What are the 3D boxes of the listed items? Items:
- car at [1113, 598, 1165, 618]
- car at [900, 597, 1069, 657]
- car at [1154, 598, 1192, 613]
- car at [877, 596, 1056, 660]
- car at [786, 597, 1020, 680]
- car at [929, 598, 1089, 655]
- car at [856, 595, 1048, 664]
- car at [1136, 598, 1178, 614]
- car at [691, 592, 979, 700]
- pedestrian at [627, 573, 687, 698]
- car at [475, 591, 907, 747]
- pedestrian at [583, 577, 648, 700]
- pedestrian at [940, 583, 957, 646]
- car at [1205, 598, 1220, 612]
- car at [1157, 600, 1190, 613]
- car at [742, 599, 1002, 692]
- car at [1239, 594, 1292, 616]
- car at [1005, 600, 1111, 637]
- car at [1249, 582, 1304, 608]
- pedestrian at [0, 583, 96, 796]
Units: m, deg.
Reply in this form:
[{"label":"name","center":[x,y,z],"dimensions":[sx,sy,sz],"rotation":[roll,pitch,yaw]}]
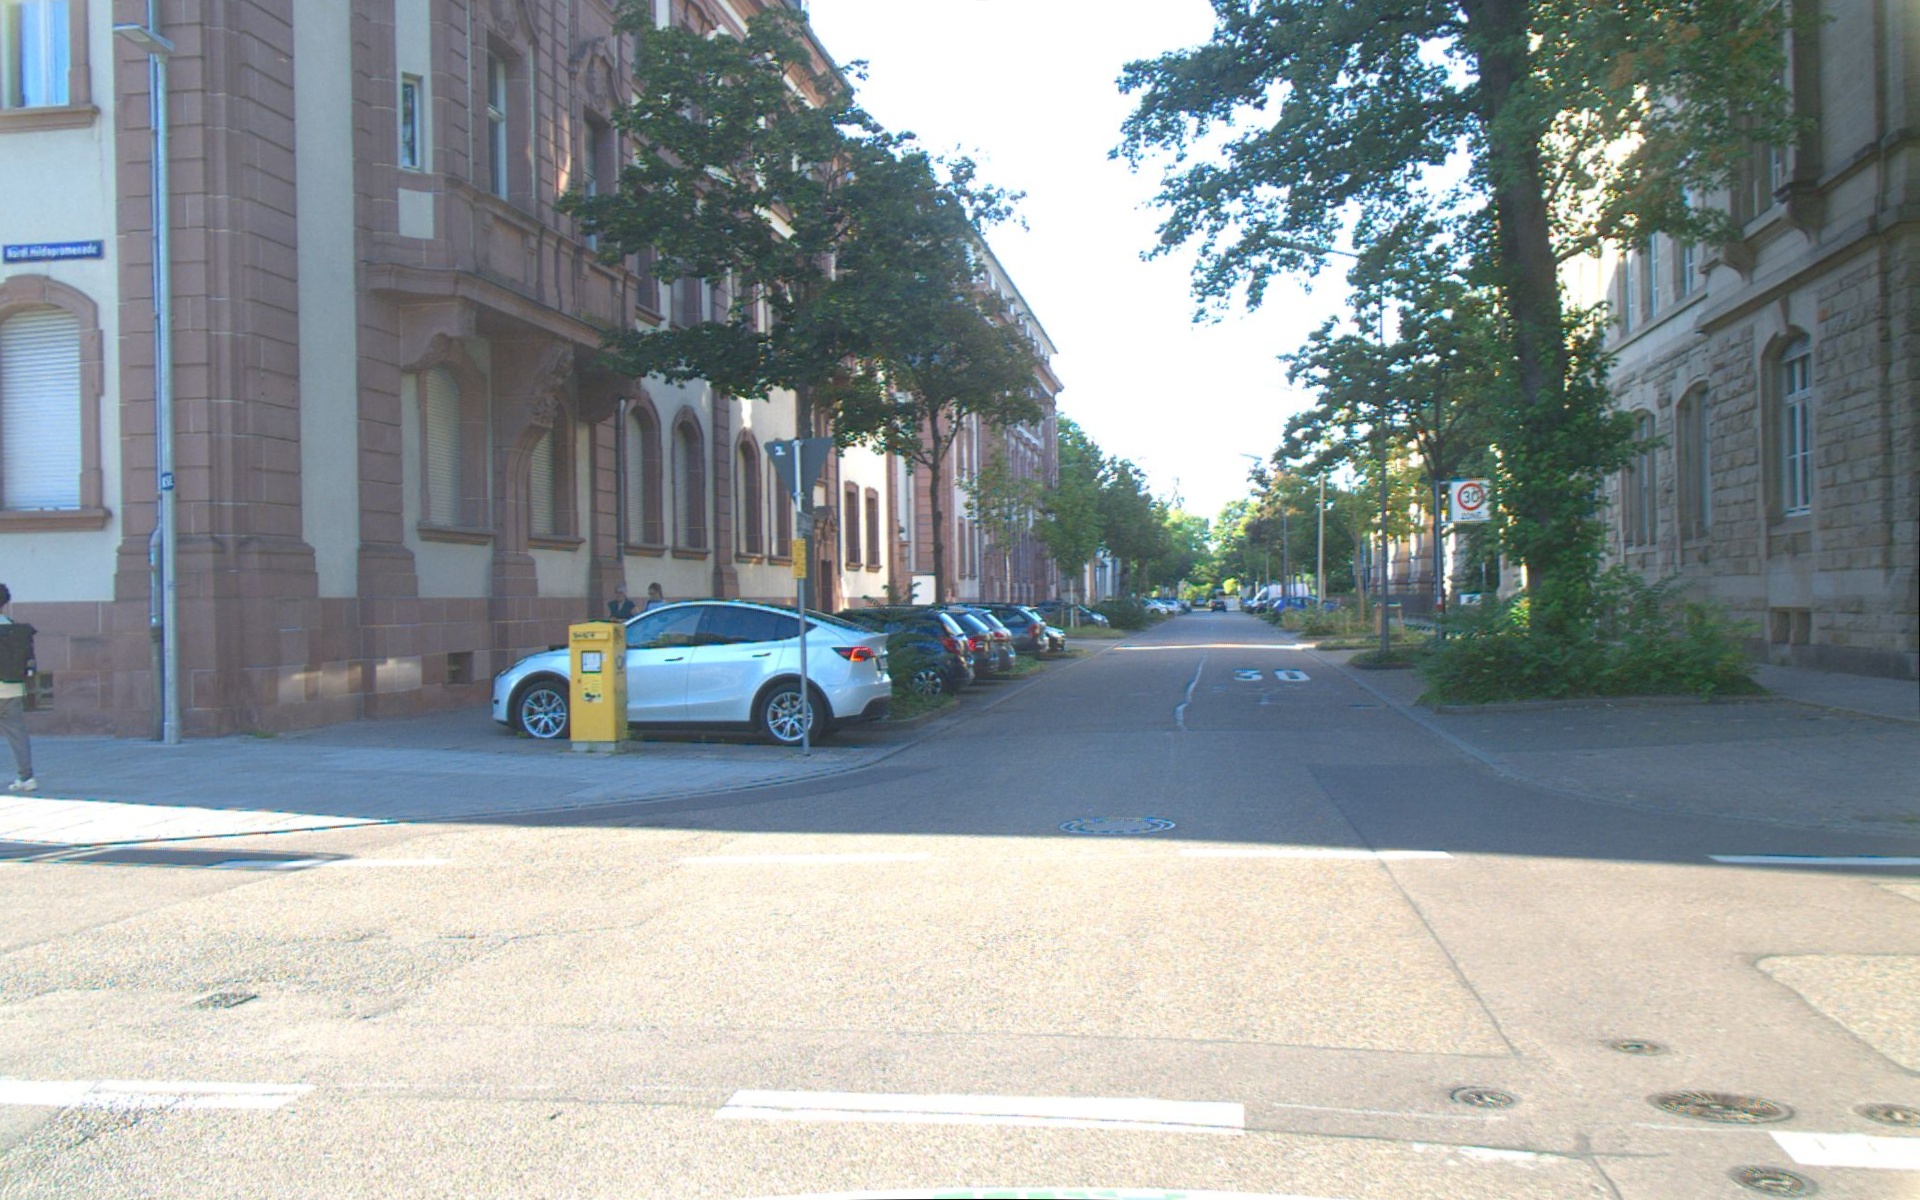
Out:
[{"label":"car","center":[14.160,0.621,130.627],"dimensions":[4.002,1.520,1.934],"rotation":[-1,0,9]},{"label":"car","center":[0.692,0.689,43.761],"dimensions":[4.286,1.522,1.968],"rotation":[1,0,6]},{"label":"car","center":[23.374,0.598,181.252],"dimensions":[4.002,1.520,1.934],"rotation":[-1,0,9]},{"label":"car","center":[0.198,0.676,41.305],"dimensions":[4.286,1.522,1.968],"rotation":[1,0,6]},{"label":"car","center":[-1.048,0.717,32.080],"dimensions":[4.286,1.522,1.968],"rotation":[1,0,6]},{"label":"car","center":[1.393,0.715,45.874],"dimensions":[4.286,1.522,1.968],"rotation":[1,0,6]},{"label":"car","center":[-0.137,0.667,38.726],"dimensions":[4.286,1.522,1.968],"rotation":[1,0,6]},{"label":"car","center":[19.426,0.562,162.695],"dimensions":[4.002,1.520,1.934],"rotation":[-1,0,9]},{"label":"car","center":[-1.937,0.704,26.431],"dimensions":[4.286,1.613,1.968],"rotation":[0,0,6]},{"label":"pedestrian","center":[-4.641,0.537,25.346],"dimensions":[0.708,1.872,0.613],"rotation":[1,0,11]},{"label":"car","center":[-3.054,0.753,19.394],"dimensions":[4.606,1.617,1.968],"rotation":[1,0,6]},{"label":"pedestrian","center":[-5.361,0.588,25.764],"dimensions":[0.770,1.872,0.717],"rotation":[0,0,11]},{"label":"pedestrian","center":[-0.372,0.470,54.254],"dimensions":[0.425,2.049,0.464],"rotation":[-1,-1,9]},{"label":"car","center":[31.365,0.645,205.649],"dimensions":[1.707,1.736,3.676],"rotation":[-1,0,6]},{"label":"car","center":[26.434,0.828,204.497],"dimensions":[4.002,1.520,1.934],"rotation":[-1,0,9]},{"label":"car","center":[-1.485,0.766,29.109],"dimensions":[4.286,1.522,1.968],"rotation":[1,0,6]},{"label":"car","center":[23.433,0.389,126.911],"dimensions":[3.902,1.646,1.790],"rotation":[-1,0,9]},{"label":"car","center":[4.177,0.761,70.000],"dimensions":[4.285,1.522,1.968],"rotation":[1,0,9]},{"label":"car","center":[27.158,-0.438,142.023],"dimensions":[4.604,2.140,2.002],"rotation":[-1,0,9]},{"label":"pedestrian","center":[-7.997,0.747,14.049],"dimensions":[0.978,1.748,0.535],"rotation":[-1,2,10]}]
